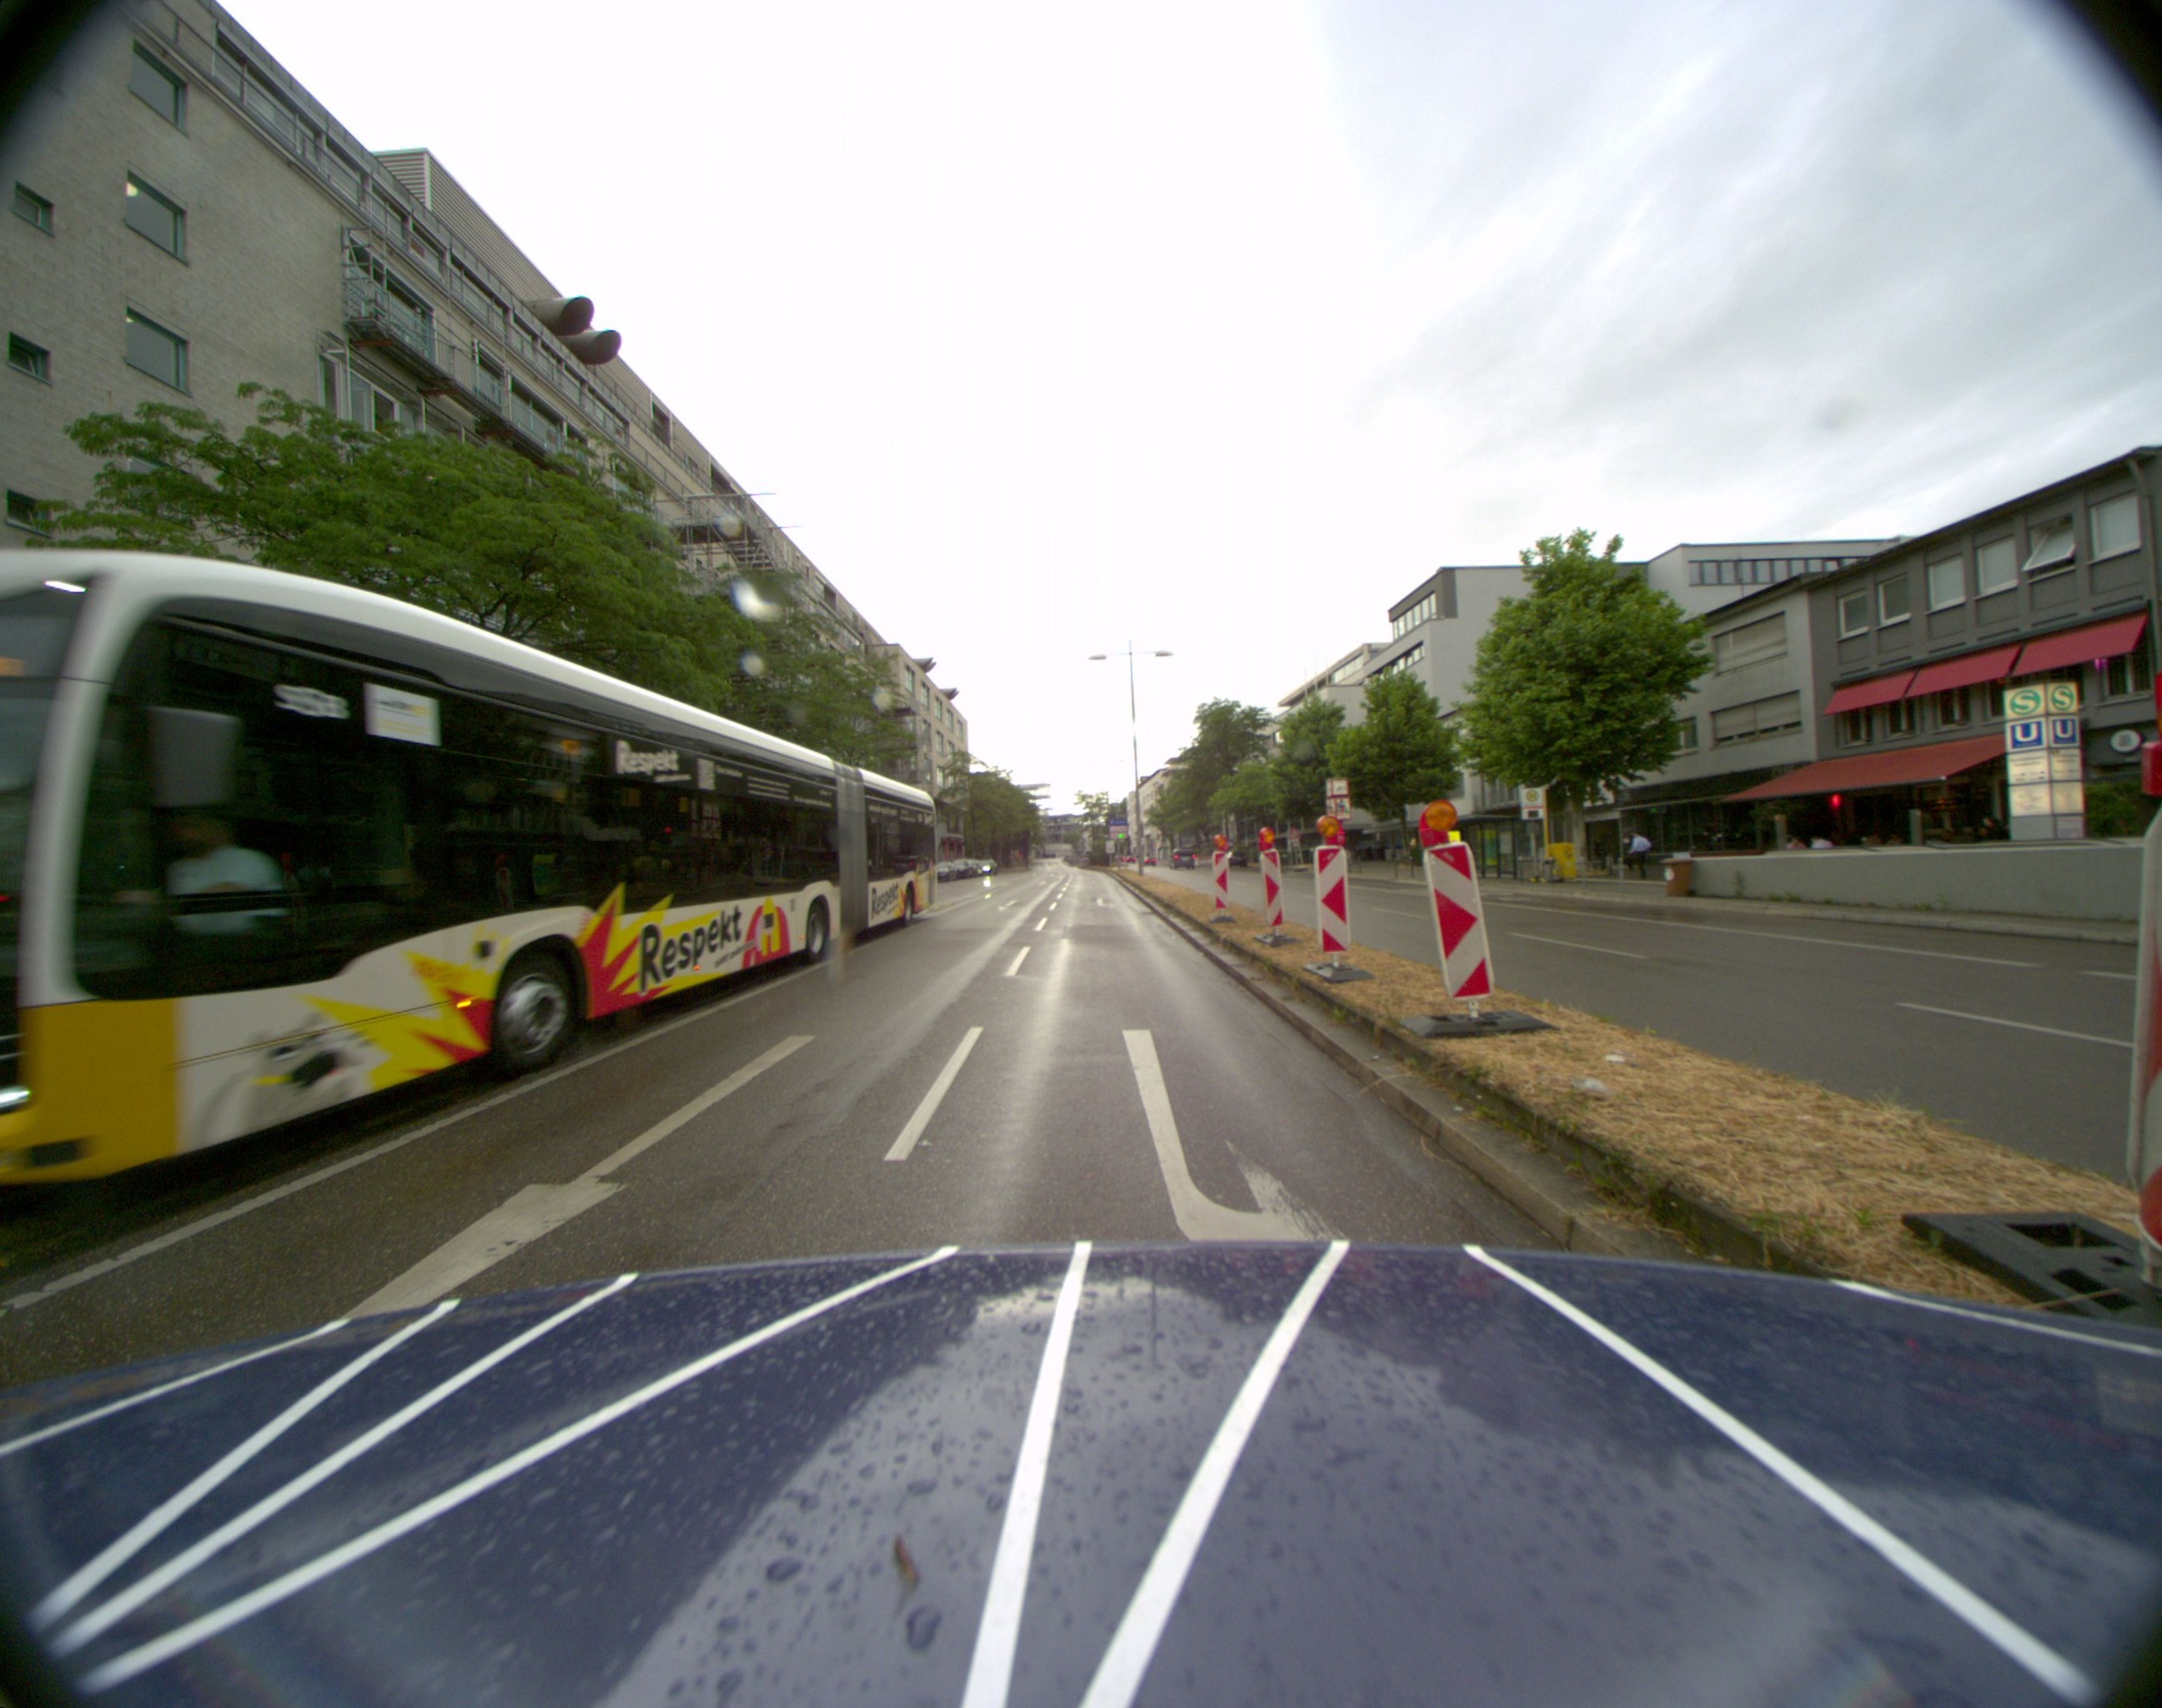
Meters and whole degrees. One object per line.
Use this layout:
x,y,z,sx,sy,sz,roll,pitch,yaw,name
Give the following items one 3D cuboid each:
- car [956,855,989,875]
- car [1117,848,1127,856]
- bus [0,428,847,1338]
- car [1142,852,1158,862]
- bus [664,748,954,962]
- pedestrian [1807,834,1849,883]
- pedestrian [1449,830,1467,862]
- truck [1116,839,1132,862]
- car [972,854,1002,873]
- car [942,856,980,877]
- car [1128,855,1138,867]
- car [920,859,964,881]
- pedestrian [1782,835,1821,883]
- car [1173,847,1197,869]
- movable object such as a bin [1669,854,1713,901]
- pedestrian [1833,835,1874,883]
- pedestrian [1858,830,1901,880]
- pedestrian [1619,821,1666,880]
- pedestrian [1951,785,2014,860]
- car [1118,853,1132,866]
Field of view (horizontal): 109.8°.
-9.462,0.939,66.681,2.147,1.552,4.816,-2,1,0,car
9.123,-0.459,168.961,1.692,1.545,4.419,-2,1,-2,car
-5.450,0.081,7.660,2.890,3.430,9.756,-2,1,1,bus
10.446,0.499,115.483,1.692,1.501,4.289,-2,0,-6,car
-5.293,-0.031,17.410,2.890,3.420,9.709,-2,1,1,bus
23.318,0.138,23.725,0.669,1.520,0.611,-2,1,3,pedestrian
23.992,-0.522,48.416,0.774,2.002,0.767,-2,1,8,pedestrian
7.105,-0.560,127.107,1.999,3.557,7.572,-2,0,-2,truck
-8.891,0.897,72.417,2.147,1.637,4.816,-2,1,0,car
-9.622,0.979,61.211,2.147,1.486,4.816,-2,1,0,car
10.478,1.372,152.758,1.692,1.419,4.224,-1,-14,0,car
-9.886,1.129,54.415,2.147,1.329,4.816,-2,1,0,car
23.345,0.163,24.625,0.669,1.520,0.611,-2,1,3,pedestrian
9.856,0.324,72.395,1.998,1.916,4.965,-1,2,5,car
14.566,0.553,18.160,0.507,1.094,0.660,-2,1,-2,movable object such as a bin
24.961,0.152,24.548,0.669,1.520,0.611,-2,1,4,pedestrian
24.996,0.036,23.784,0.669,1.520,0.611,-2,1,3,pedestrian
19.881,-0.130,26.916,0.922,2.002,0.944,-2,1,0,pedestrian
22.506,-0.767,18.987,0.611,1.813,0.792,-2,1,-4,pedestrian
7.053,0.835,122.260,1.998,2.002,4.000,-2,1,2,car
